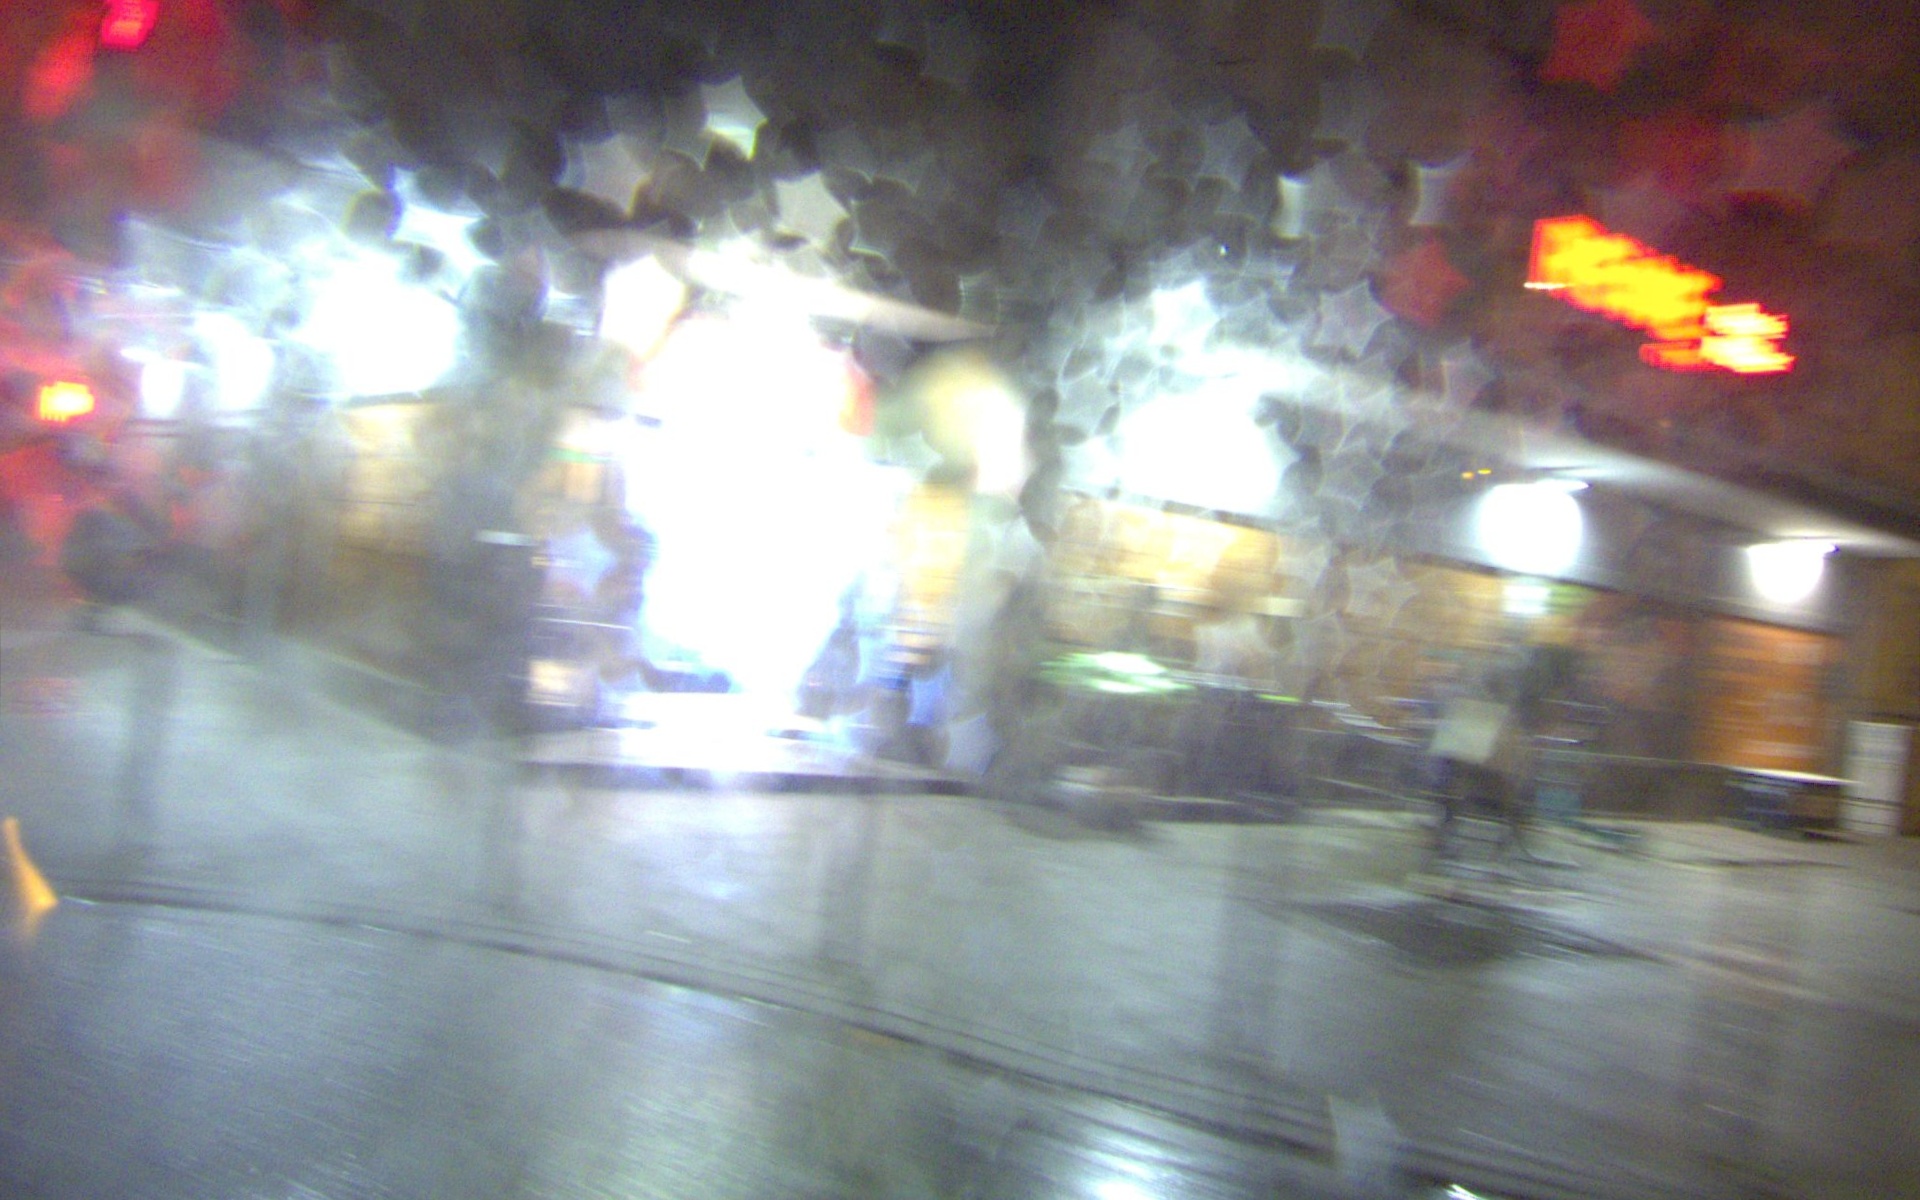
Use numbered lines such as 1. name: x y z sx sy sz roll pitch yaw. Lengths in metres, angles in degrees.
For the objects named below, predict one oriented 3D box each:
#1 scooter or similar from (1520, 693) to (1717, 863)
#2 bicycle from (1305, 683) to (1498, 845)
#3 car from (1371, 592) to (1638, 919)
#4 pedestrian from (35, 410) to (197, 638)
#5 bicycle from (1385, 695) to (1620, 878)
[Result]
1. scooter or similar: 5.942 1.576 9.163 0.519 1.244 1.307 8 0 -20
2. bicycle: 3.781 1.406 8.581 1.626 1.187 0.382 9 -3 -22
3. car: 3.432 0.956 6.400 0.952 1.864 0.872 8 1 -23
4. pedestrian: -8.977 -0.775 10.701 0.956 2.237 1.052 7 2 40
5. bicycle: 4.067 1.407 7.513 1.763 1.188 0.382 8 1 -22
